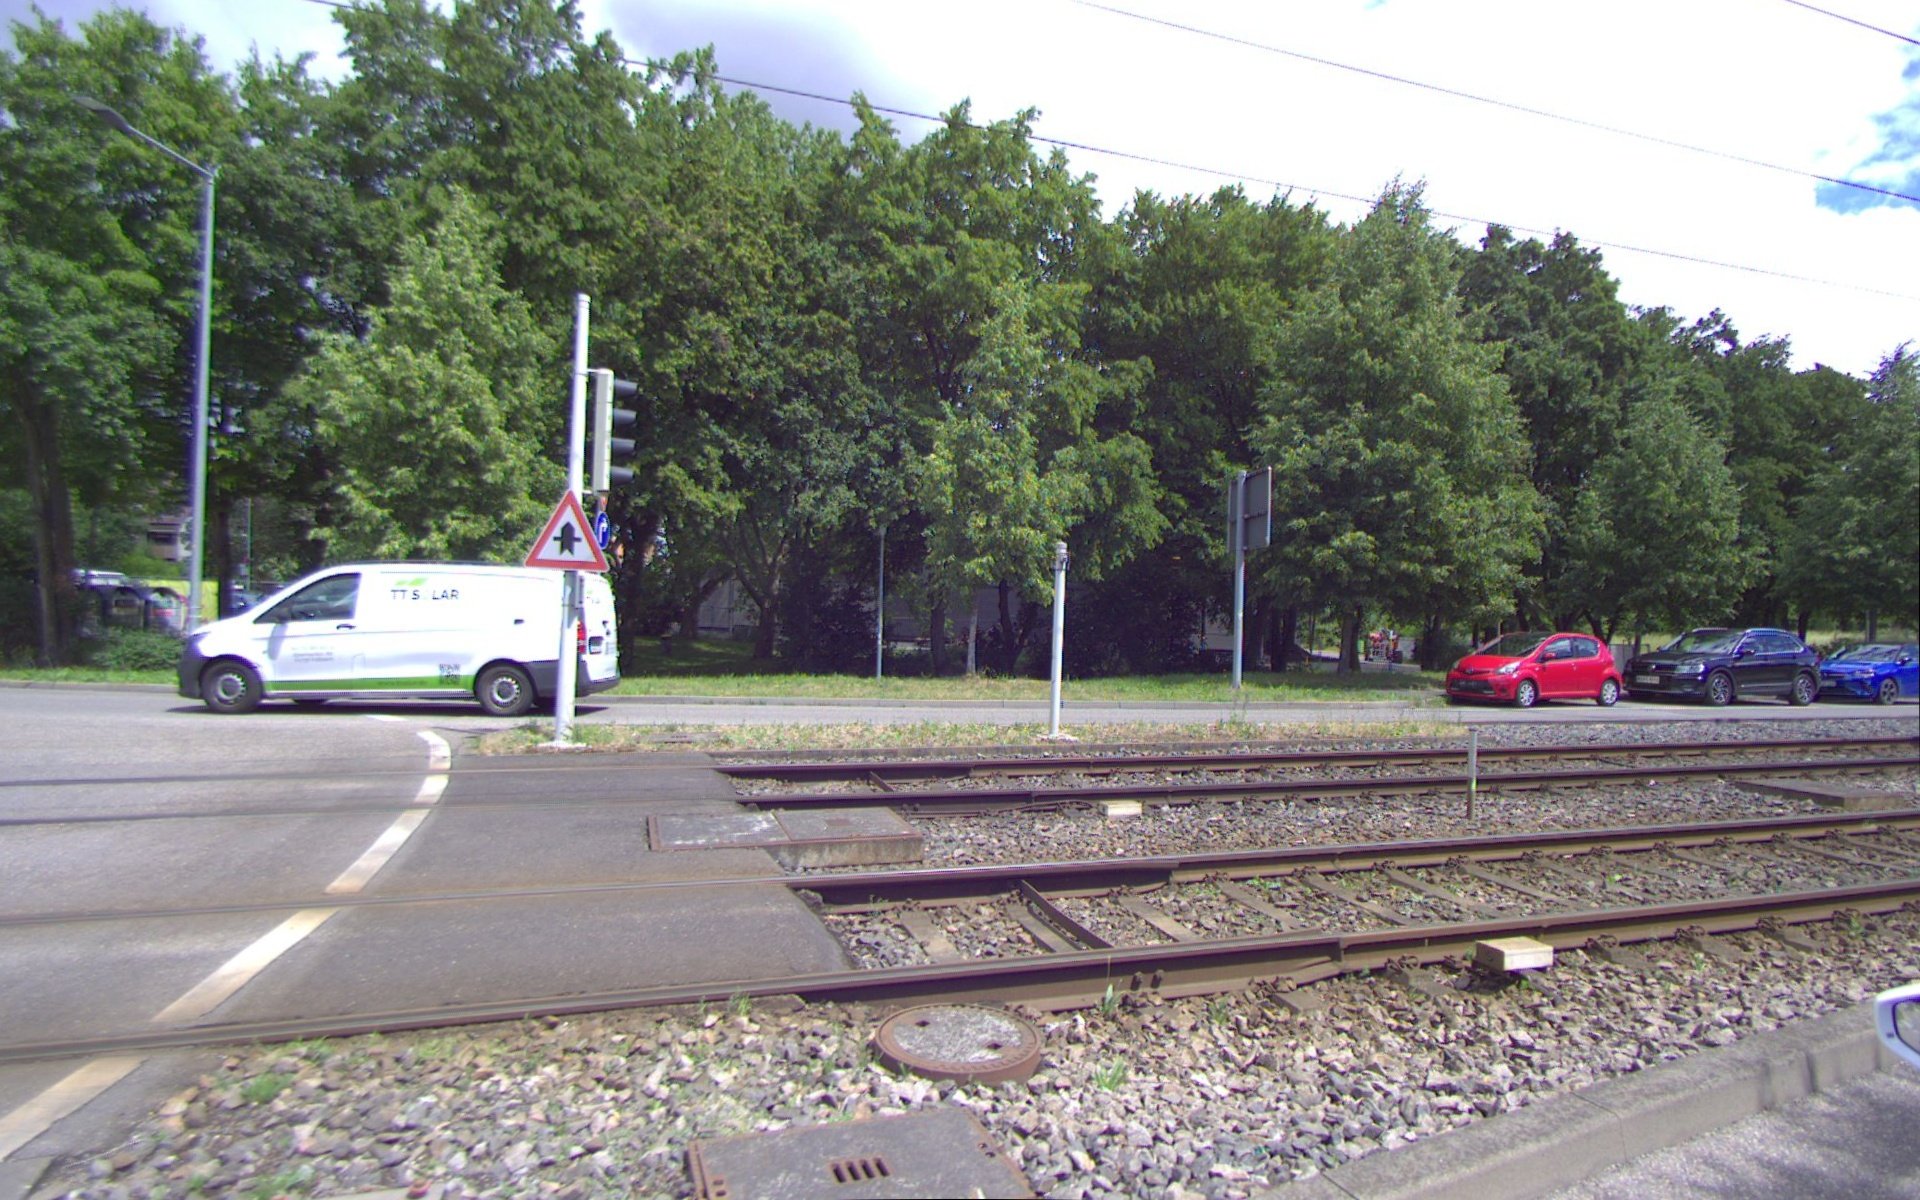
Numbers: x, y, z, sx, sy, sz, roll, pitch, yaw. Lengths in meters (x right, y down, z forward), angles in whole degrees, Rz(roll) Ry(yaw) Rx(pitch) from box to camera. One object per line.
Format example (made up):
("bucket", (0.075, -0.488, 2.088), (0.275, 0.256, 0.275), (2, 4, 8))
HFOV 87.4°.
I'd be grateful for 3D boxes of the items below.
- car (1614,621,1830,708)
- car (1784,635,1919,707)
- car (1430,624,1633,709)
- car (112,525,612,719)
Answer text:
("car", (16.636, 1.409, 21.939), (4.307, 1.626, 1.578), (3, 0, -19))
("car", (21.693, 1.678, 23.700), (3.945, 1.480, 1.611), (3, 0, -19))
("car", (11.543, 1.340, 20.294), (3.608, 1.471, 1.610), (3, 0, -21))
("car", (-7.411, 0.281, 12.949), (5.137, 2.045, 1.879), (3, 0, -6))
